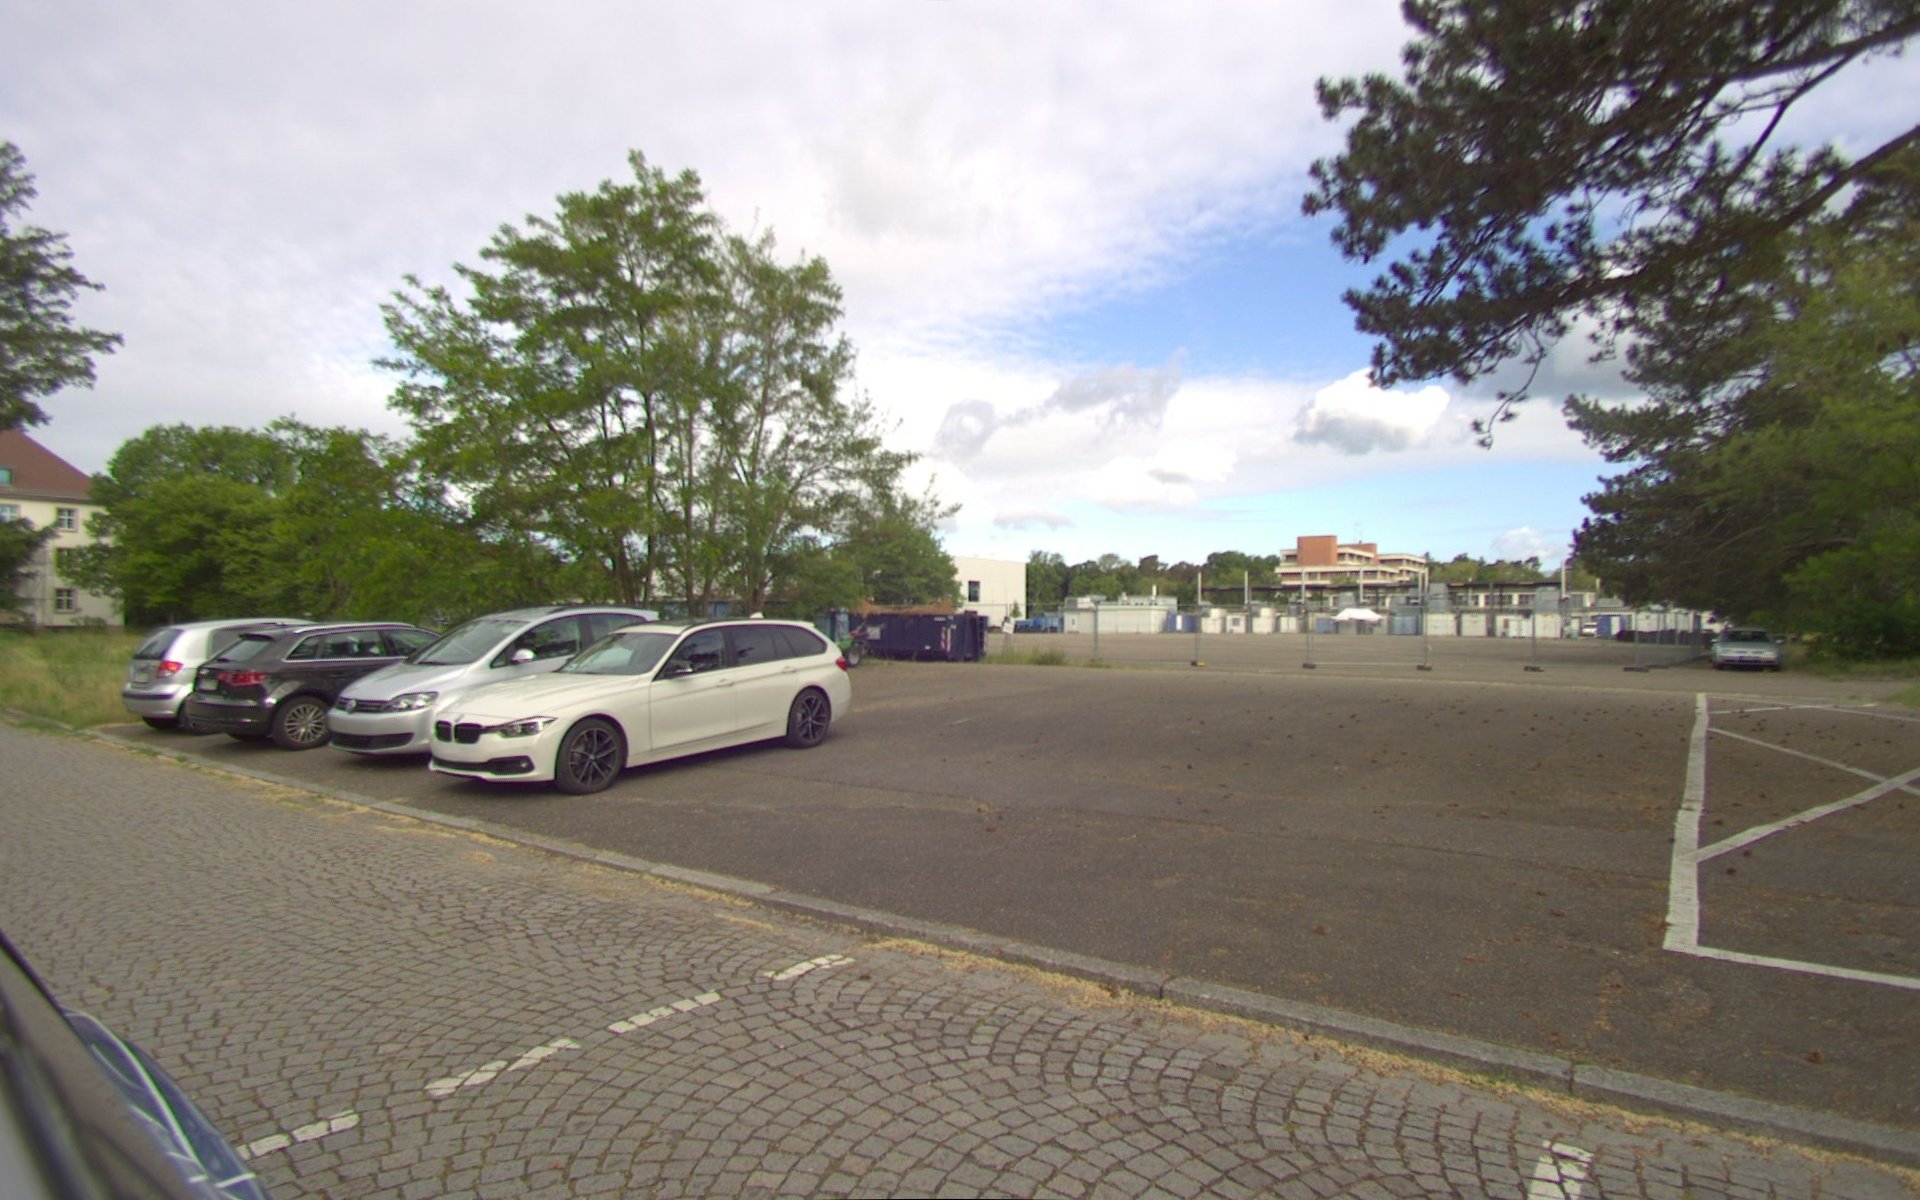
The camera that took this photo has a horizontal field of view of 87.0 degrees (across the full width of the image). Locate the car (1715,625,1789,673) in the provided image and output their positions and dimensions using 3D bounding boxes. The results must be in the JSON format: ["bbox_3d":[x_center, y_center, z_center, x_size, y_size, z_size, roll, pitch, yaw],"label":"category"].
[{"bbox_3d":[26.685,1.605,34.206,1.732,1.443,4.112,-1,-1,35],"label":"car"}]

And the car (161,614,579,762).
[{"bbox_3d":[-7.431,0.984,13.213,1.718,1.435,4.397,-1,1,35],"label":"car"}]

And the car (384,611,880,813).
[{"bbox_3d":[-3.040,0.926,10.431,1.862,1.499,4.699,-2,-1,34],"label":"car"}]

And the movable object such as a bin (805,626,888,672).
[{"bbox_3d":[-2.879,1.241,25.939,0.856,1.134,2.242,-1,-2,35],"label":"movable object such as a bin"}]

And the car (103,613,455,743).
[{"bbox_3d":[-9.669,1.007,14.676,1.580,1.481,3.917,-1,1,34],"label":"car"}]

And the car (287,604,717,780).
[{"bbox_3d":[-5.107,0.888,11.923,1.866,1.610,4.331,-1,0,31],"label":"car"}]
